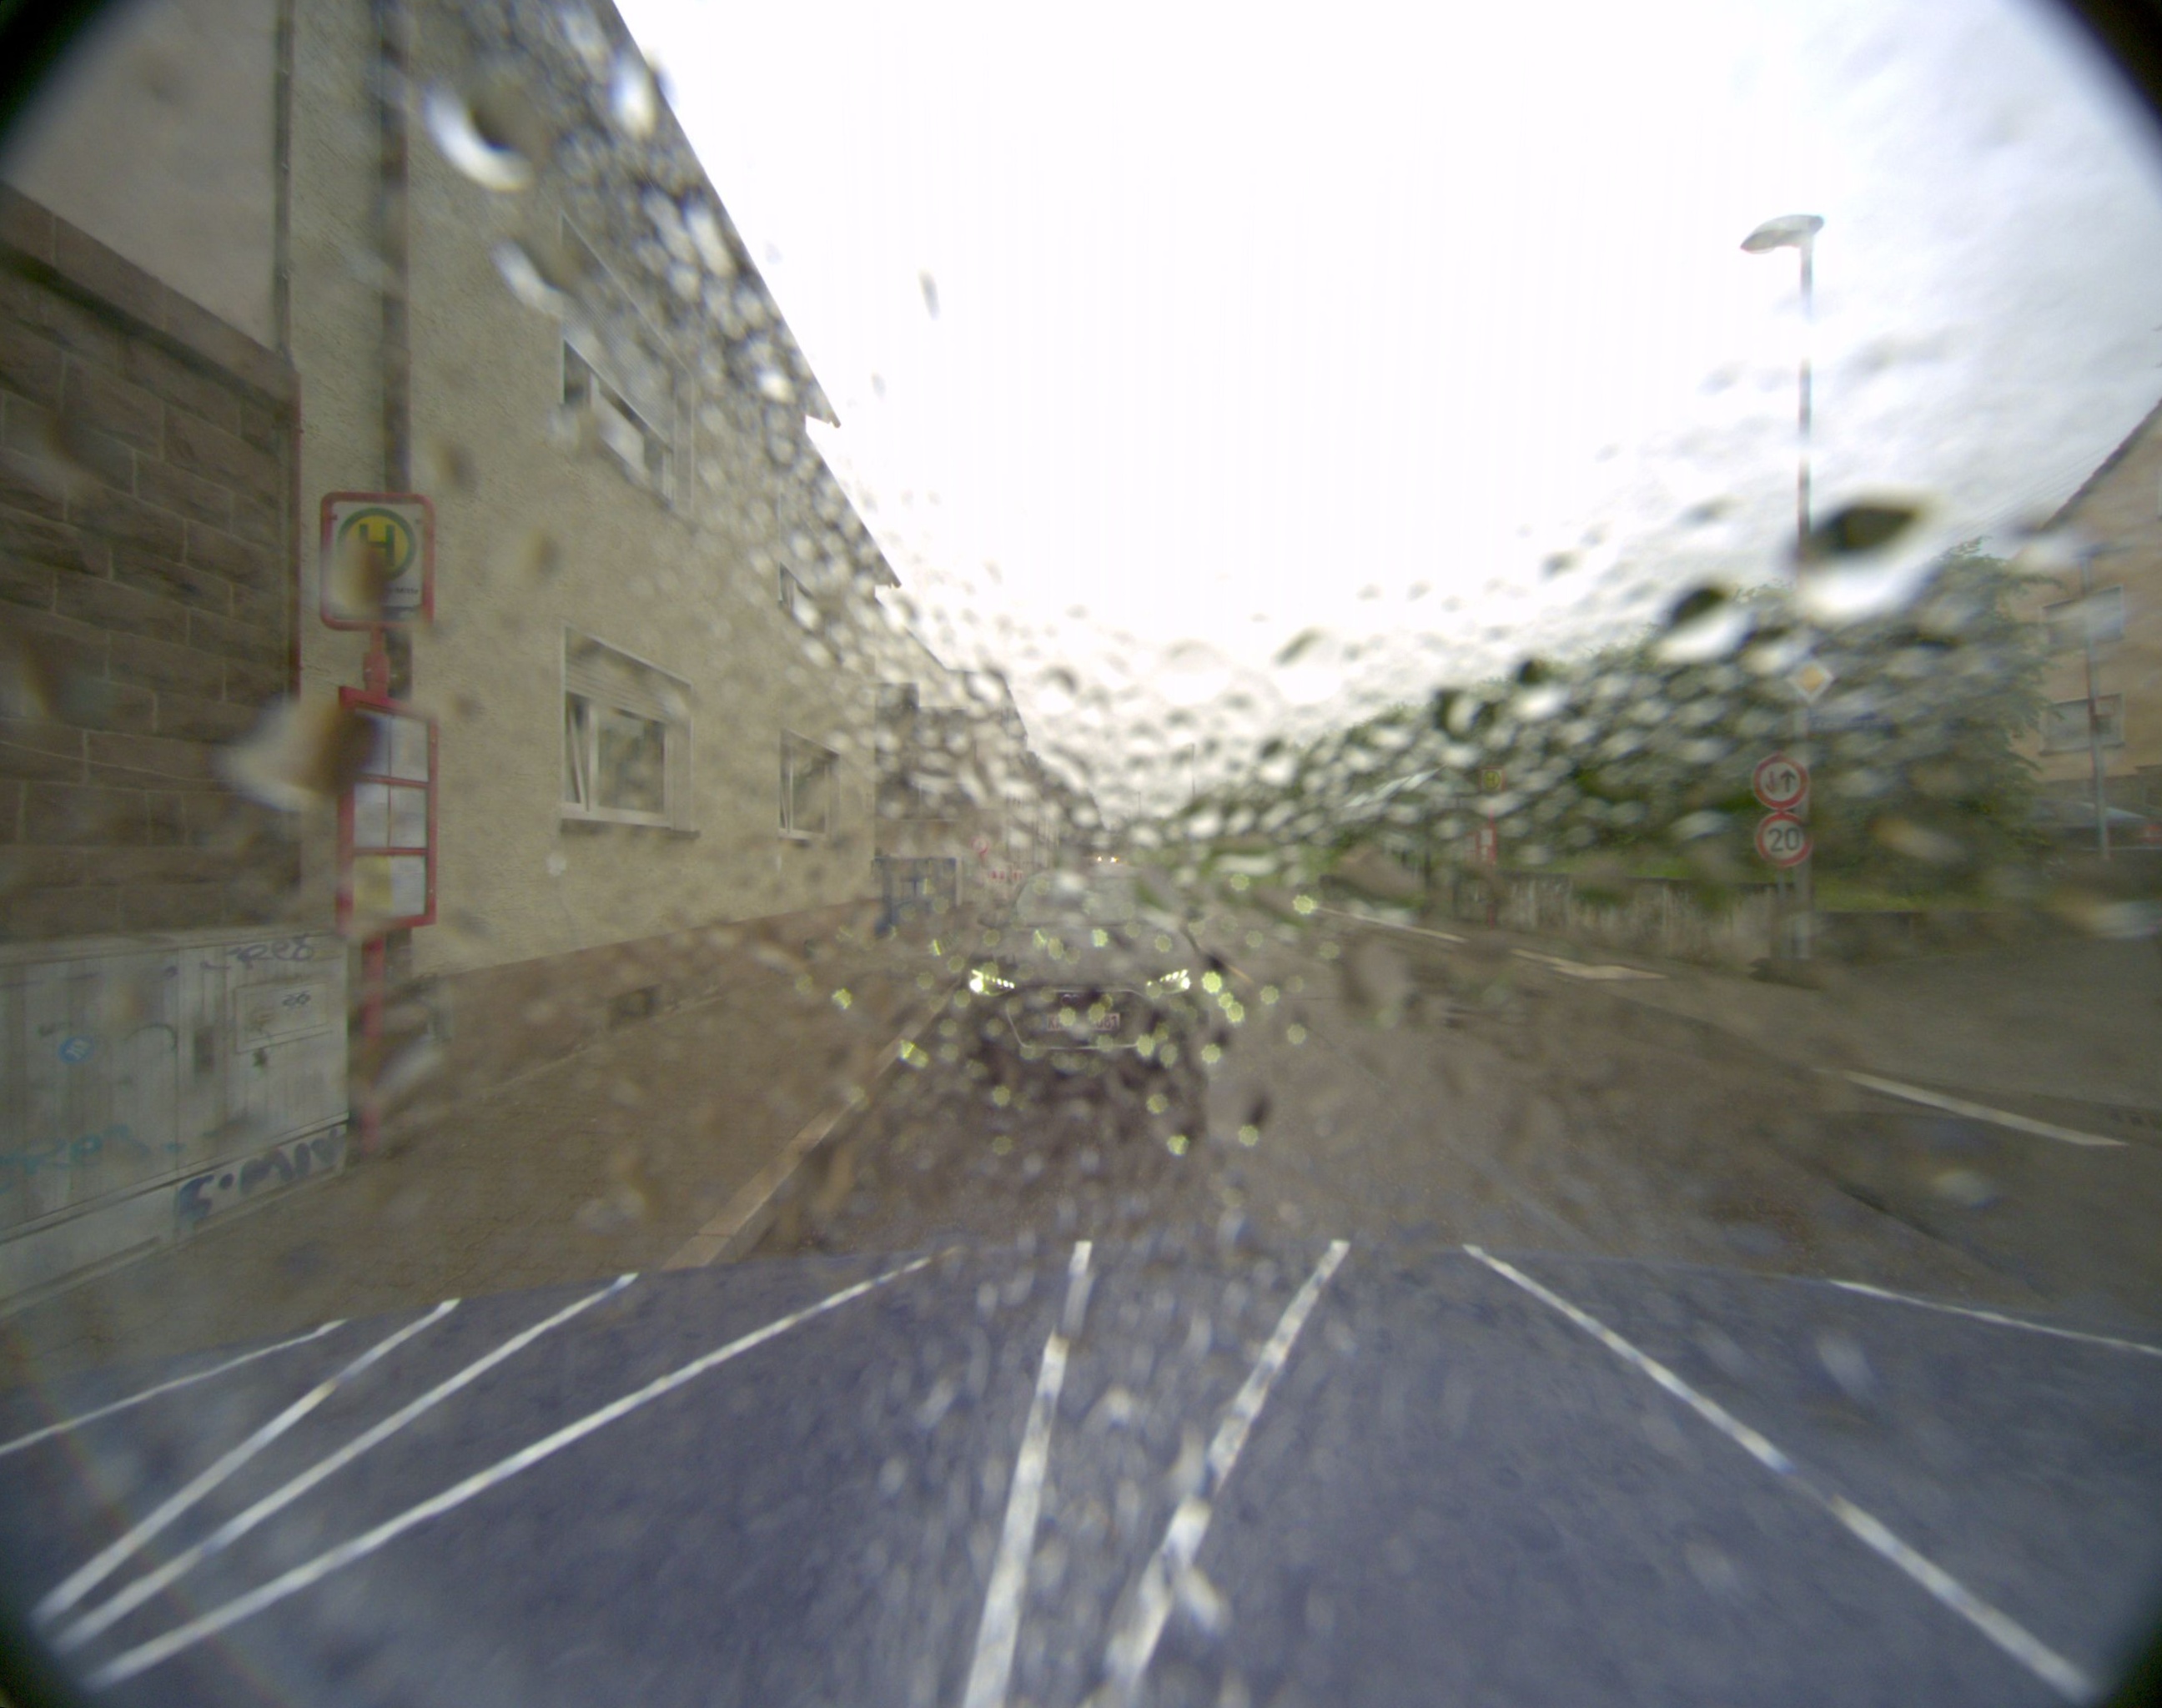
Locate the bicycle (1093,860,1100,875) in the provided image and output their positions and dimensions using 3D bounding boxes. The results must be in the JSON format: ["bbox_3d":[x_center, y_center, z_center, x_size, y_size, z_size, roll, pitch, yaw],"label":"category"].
[{"bbox_3d":[1.044,0.915,51.562,0.407,1.023,1.221,1,1,2],"label":"bicycle"}]

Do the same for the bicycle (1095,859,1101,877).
[{"bbox_3d":[1.103,0.891,49.326,0.407,1.137,1.221,1,1,2],"label":"bicycle"}]

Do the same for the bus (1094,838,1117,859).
[{"bbox_3d":[3.553,-0.874,114.007,2.685,2.987,14.542,1,1,-1],"label":"bus"}]

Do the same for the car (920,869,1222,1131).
[{"bbox_3d":[-0.034,0.954,6.985,1.851,1.444,4.531,1,1,1],"label":"car"}]

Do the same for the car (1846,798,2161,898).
[{"bbox_3d":[15.861,-0.200,12.757,1.749,1.382,4.220,-1,3,0],"label":"car"}]
